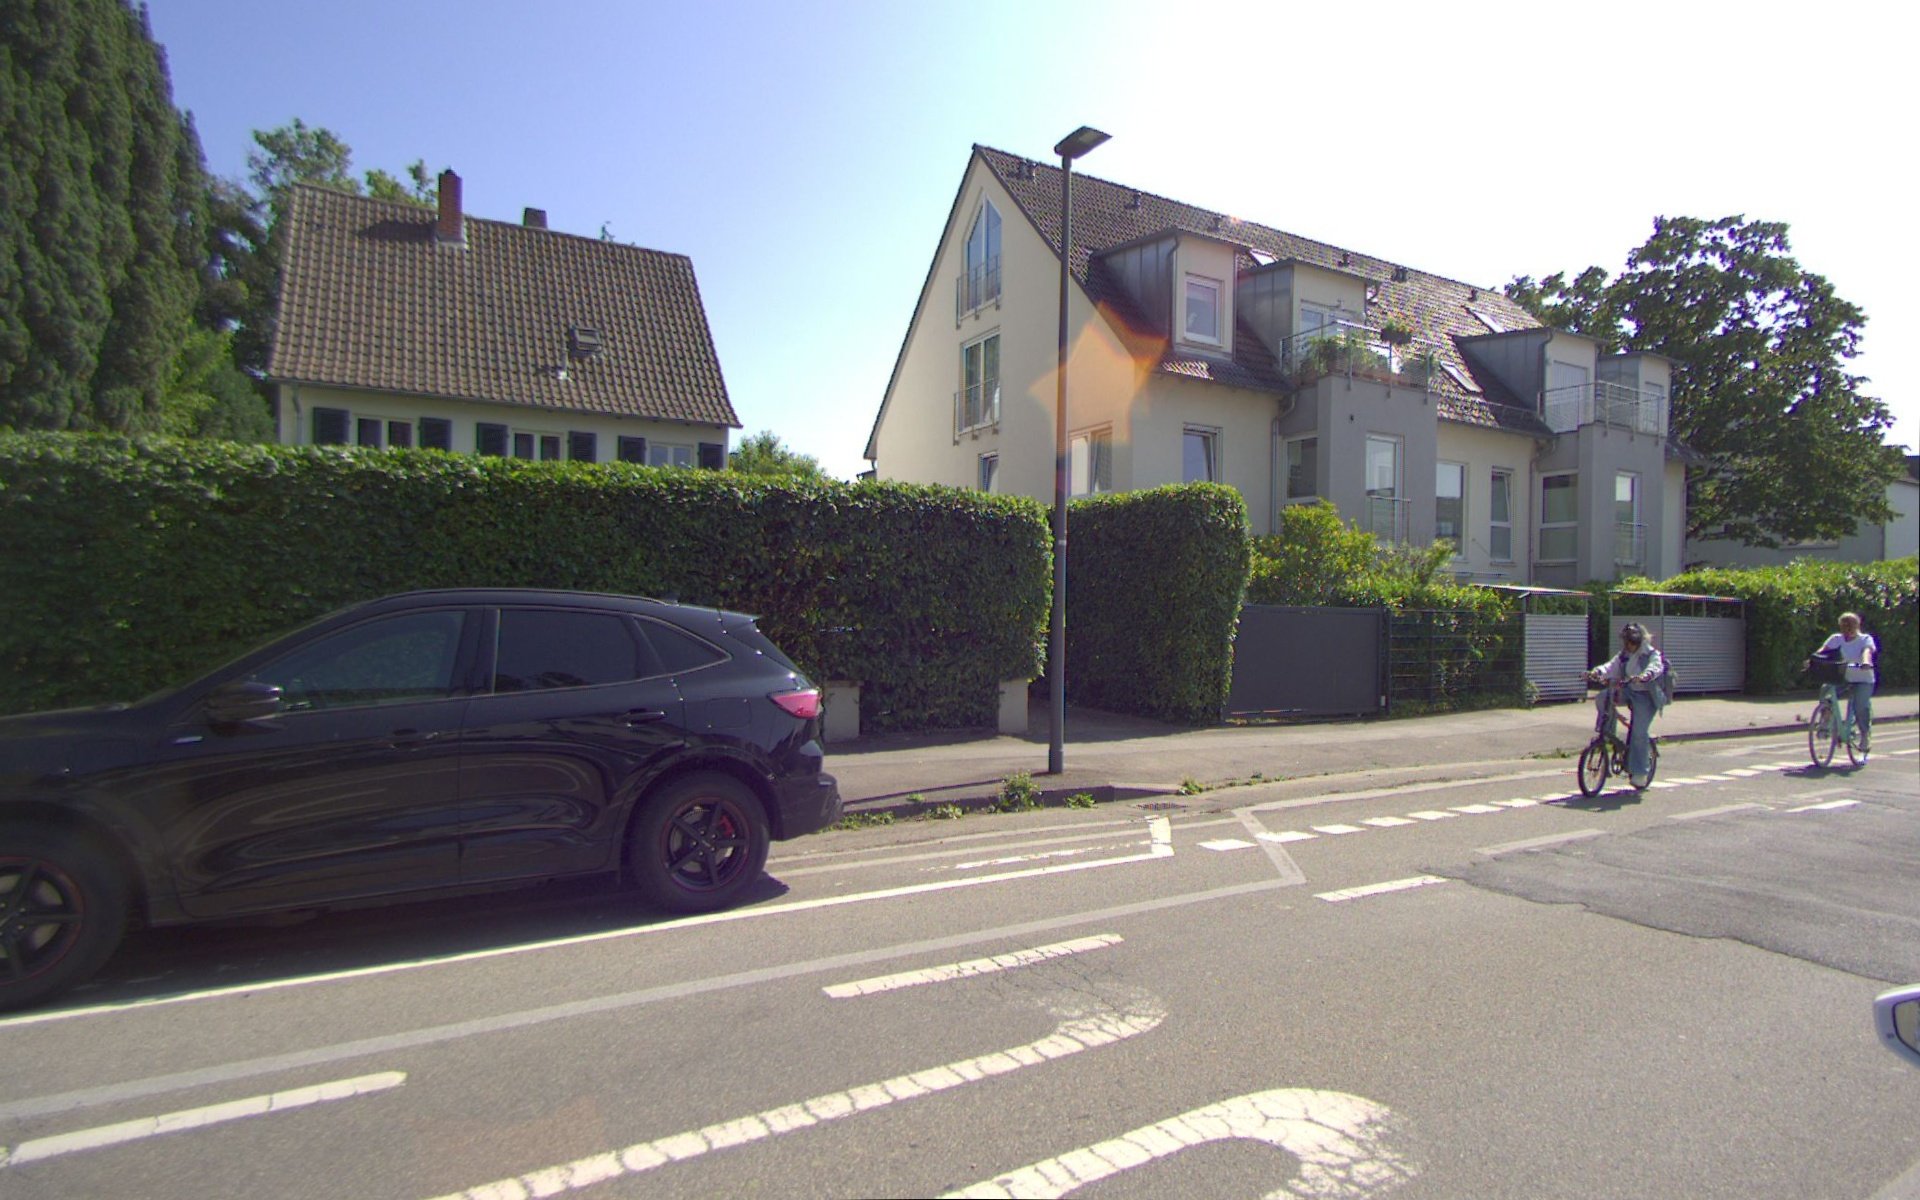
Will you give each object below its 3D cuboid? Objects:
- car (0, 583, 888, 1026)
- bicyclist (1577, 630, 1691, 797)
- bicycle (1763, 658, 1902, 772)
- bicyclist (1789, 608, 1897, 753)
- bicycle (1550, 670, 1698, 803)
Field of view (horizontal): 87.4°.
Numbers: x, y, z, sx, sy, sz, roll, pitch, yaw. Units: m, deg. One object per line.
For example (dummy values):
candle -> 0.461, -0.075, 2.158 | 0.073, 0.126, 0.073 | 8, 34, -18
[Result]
car -> -2.752, 0.838, 5.276 | 4.396, 1.631, 1.843 | 1, -4, -30
bicyclist -> 6.276, 1.026, 9.358 | 0.953, 1.473, 0.488 | 1, -3, -30
bicycle -> 10.026, 1.275, 11.524 | 2.012, 1.201, 0.556 | 2, -3, -30
bicyclist -> 10.205, 0.916, 11.617 | 0.849, 1.601, 0.673 | 1, -3, -30
bicycle -> 6.146, 1.223, 9.288 | 1.330, 1.119, 0.598 | 2, -3, -30
